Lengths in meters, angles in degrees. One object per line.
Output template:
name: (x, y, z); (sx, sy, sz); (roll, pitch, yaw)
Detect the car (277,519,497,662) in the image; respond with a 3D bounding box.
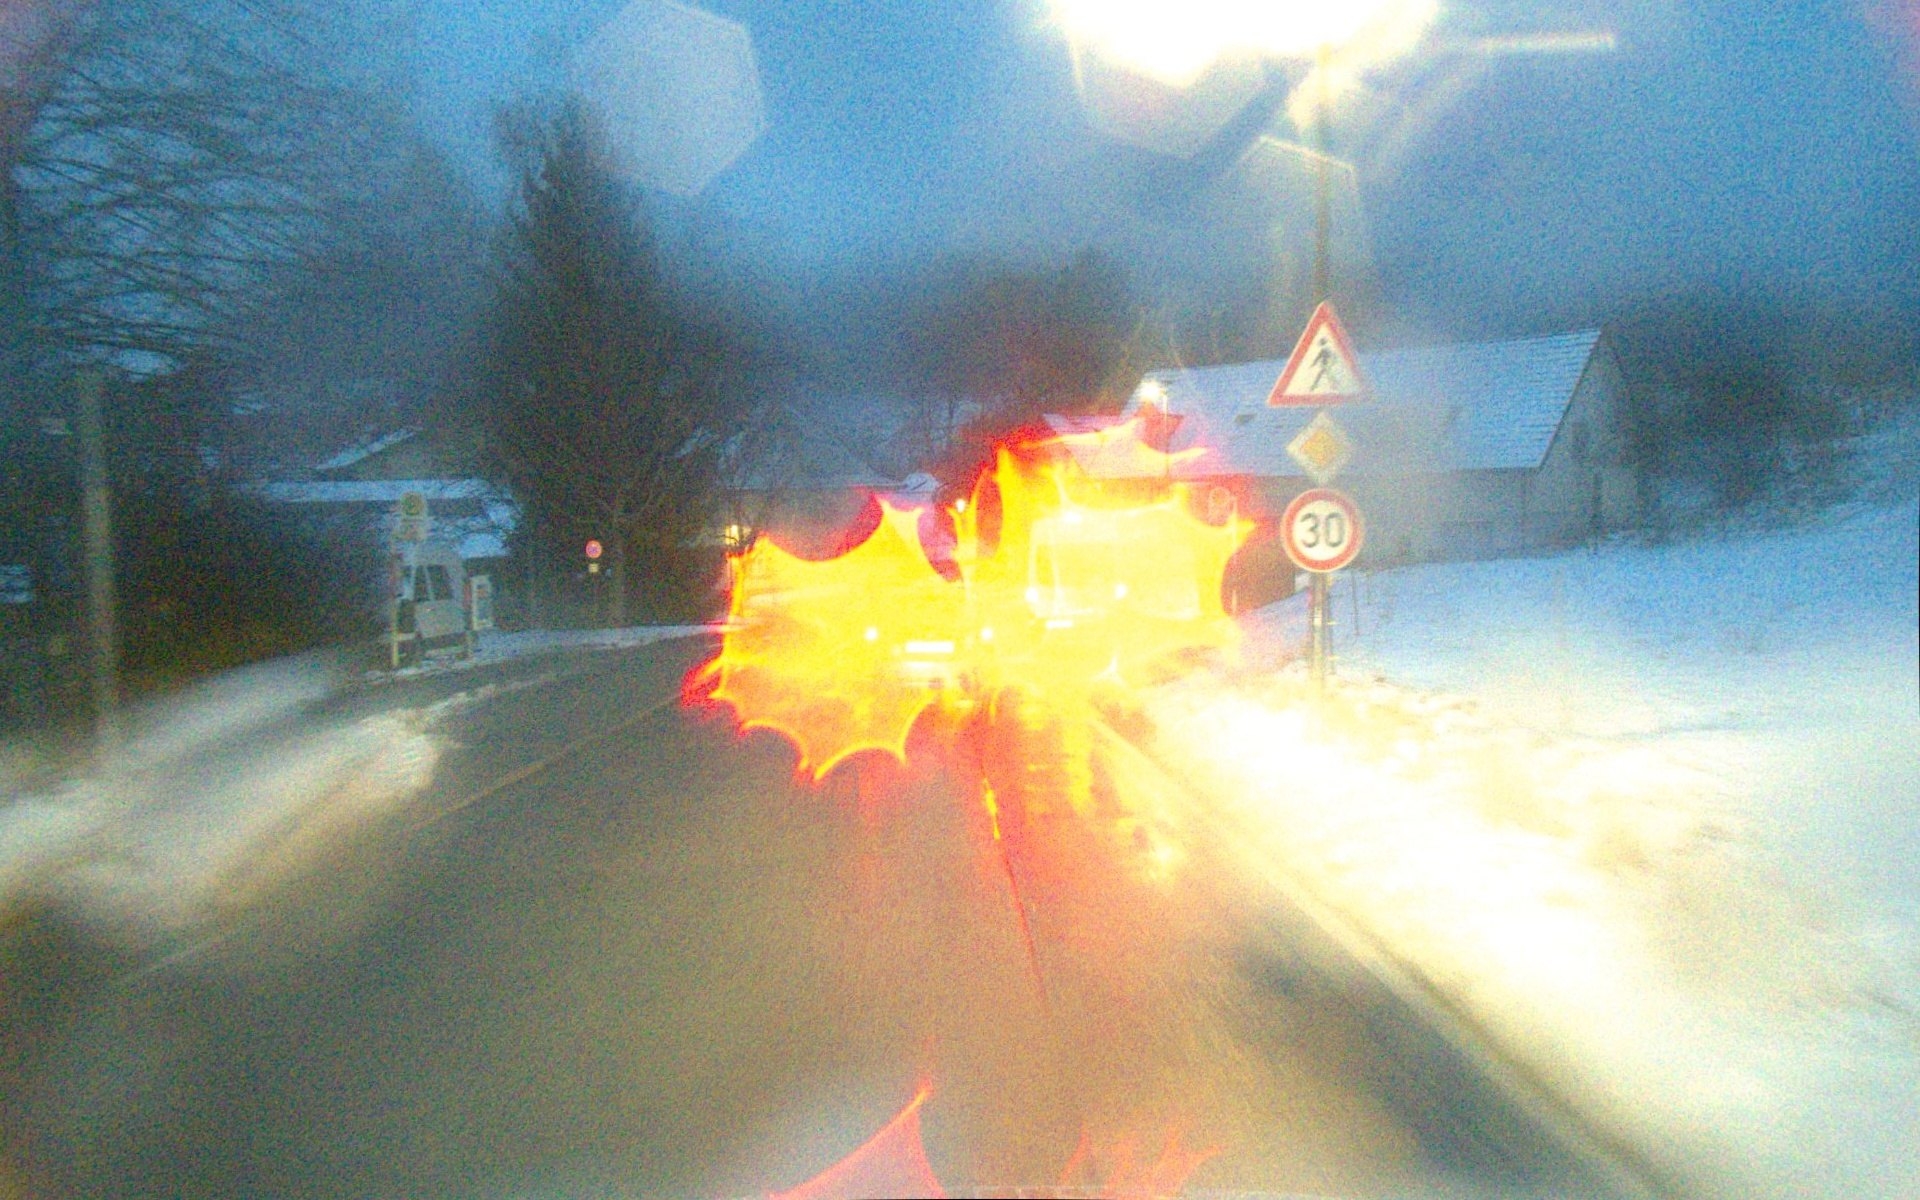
car: (-11.335, -0.223, 33.334); (2.419, 2.616, 6.226); (0, 1, -2)

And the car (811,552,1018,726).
car: (-0.569, 0.416, 20.307); (2.228, 1.873, 5.005); (0, 0, -2)

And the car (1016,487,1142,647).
car: (2.439, -0.615, 34.853); (2.384, 3.071, 5.326); (-1, -1, 3)
